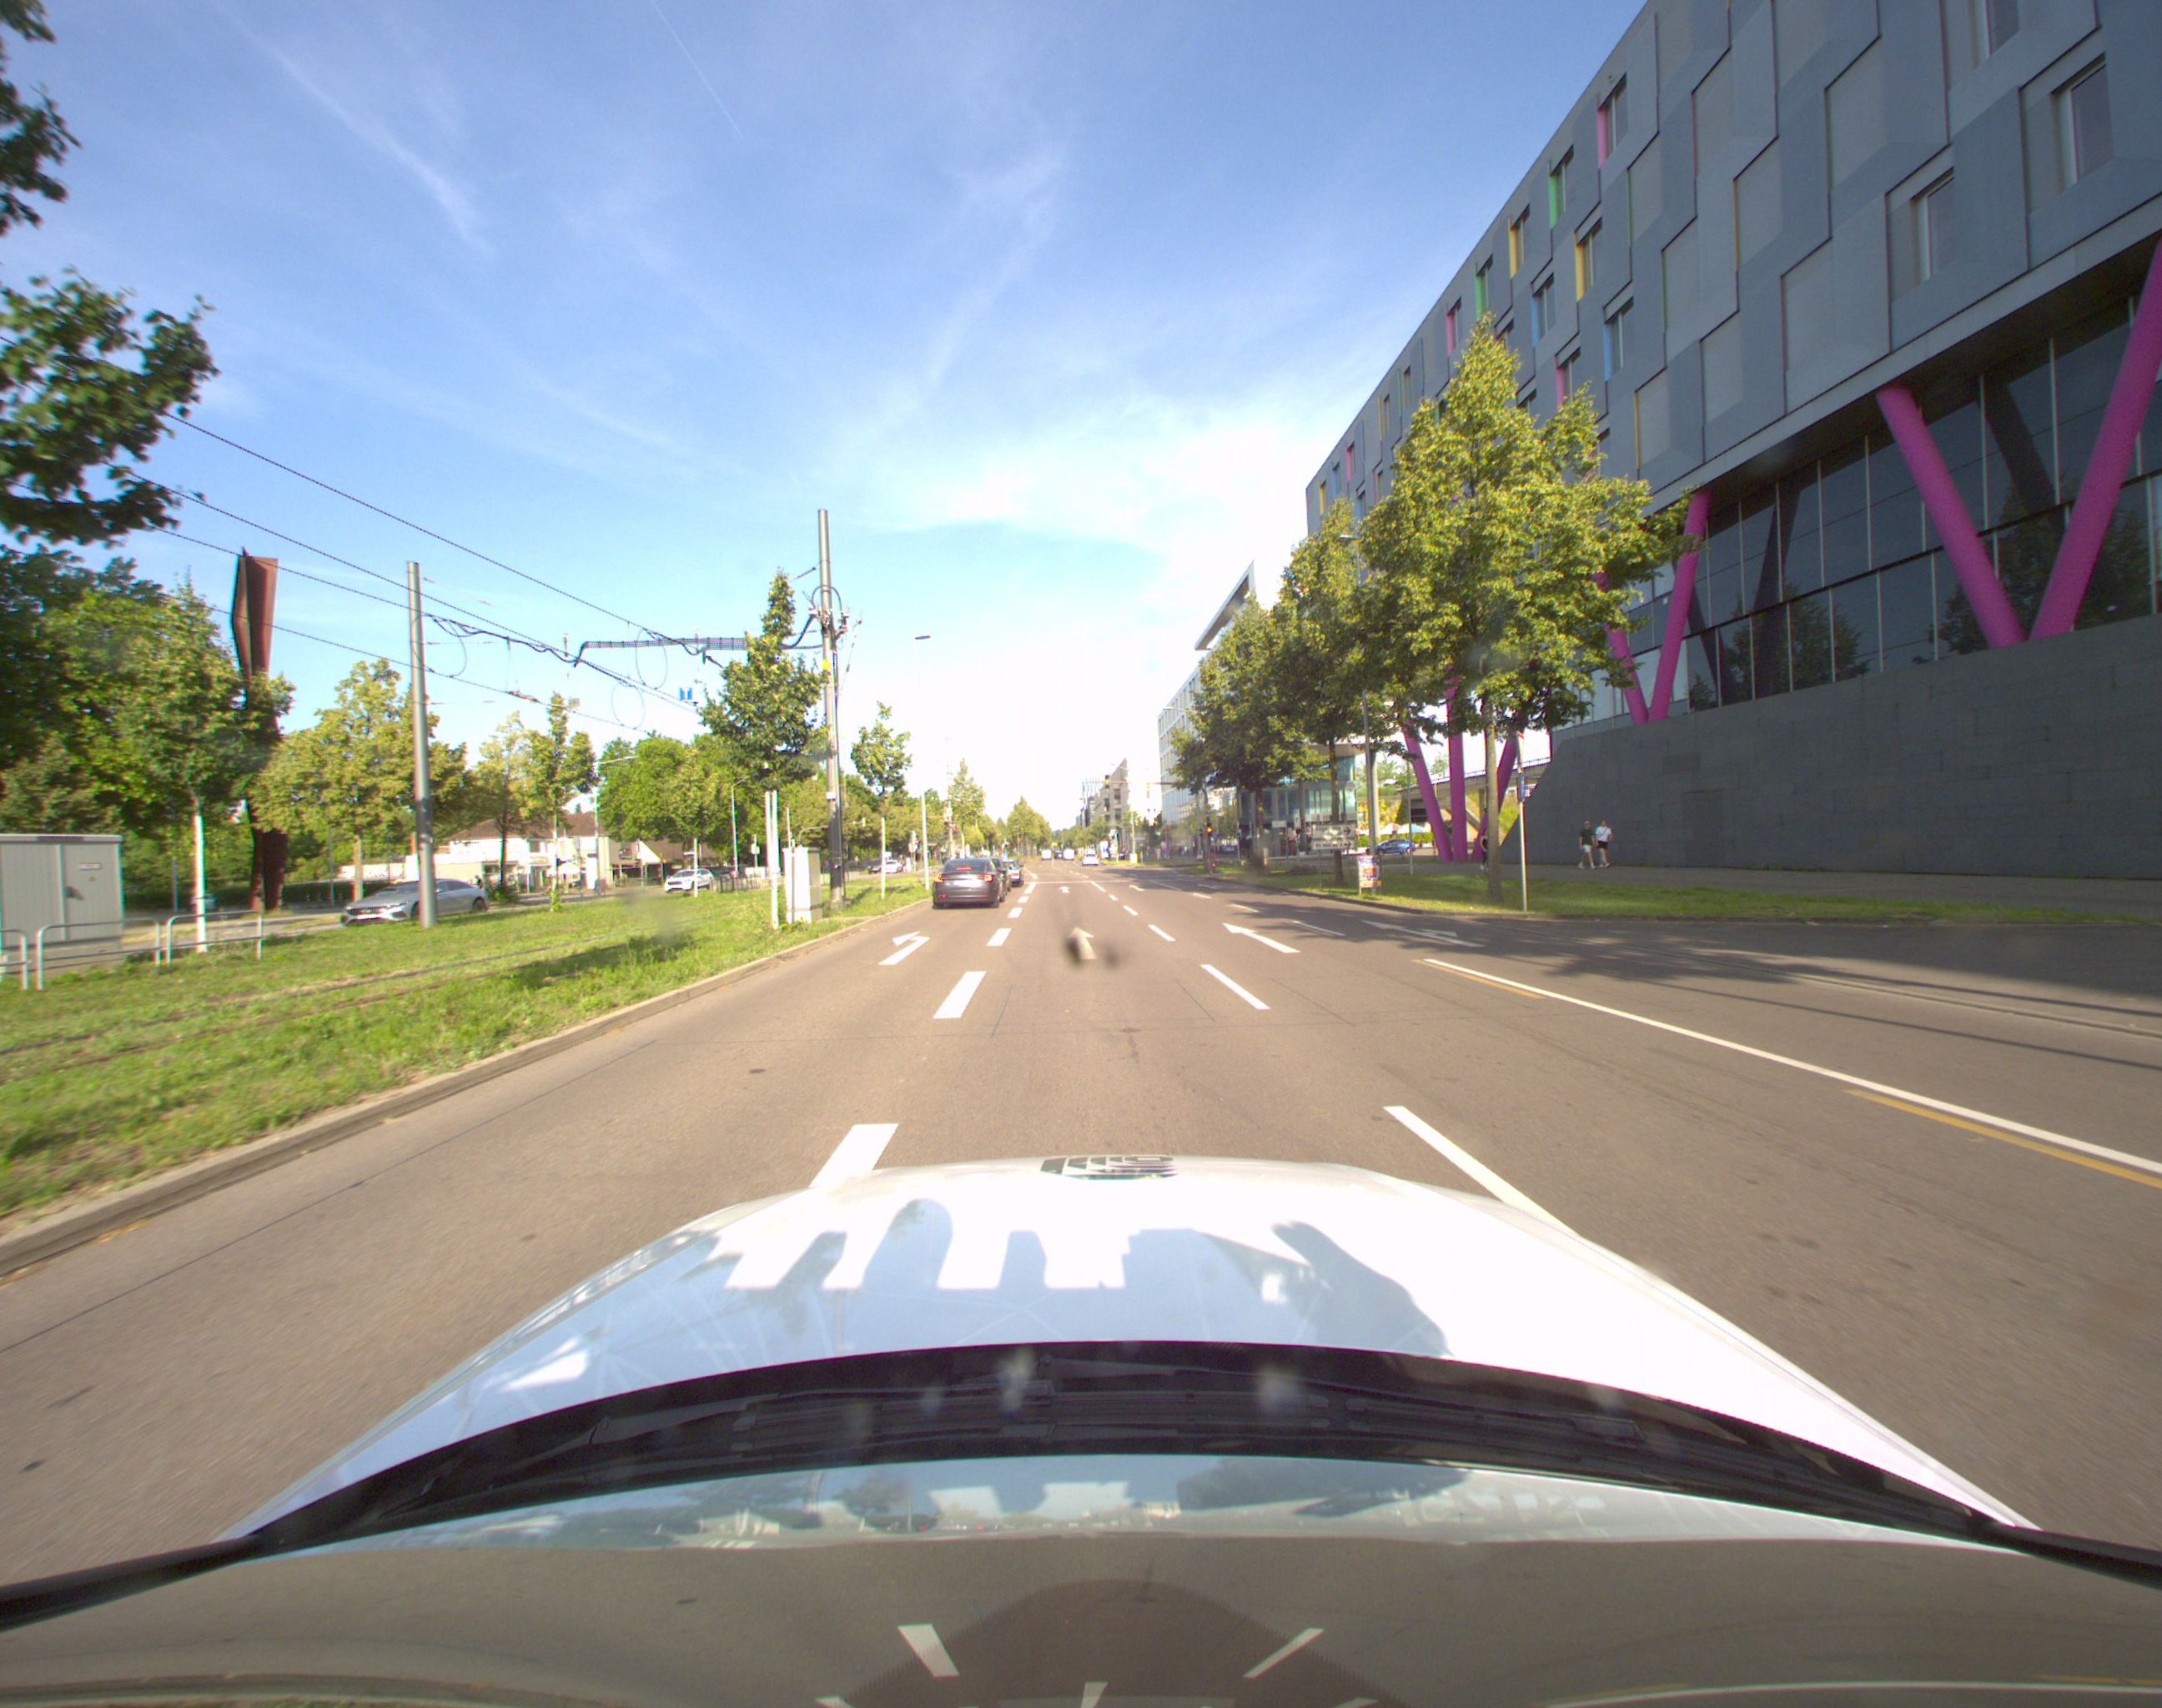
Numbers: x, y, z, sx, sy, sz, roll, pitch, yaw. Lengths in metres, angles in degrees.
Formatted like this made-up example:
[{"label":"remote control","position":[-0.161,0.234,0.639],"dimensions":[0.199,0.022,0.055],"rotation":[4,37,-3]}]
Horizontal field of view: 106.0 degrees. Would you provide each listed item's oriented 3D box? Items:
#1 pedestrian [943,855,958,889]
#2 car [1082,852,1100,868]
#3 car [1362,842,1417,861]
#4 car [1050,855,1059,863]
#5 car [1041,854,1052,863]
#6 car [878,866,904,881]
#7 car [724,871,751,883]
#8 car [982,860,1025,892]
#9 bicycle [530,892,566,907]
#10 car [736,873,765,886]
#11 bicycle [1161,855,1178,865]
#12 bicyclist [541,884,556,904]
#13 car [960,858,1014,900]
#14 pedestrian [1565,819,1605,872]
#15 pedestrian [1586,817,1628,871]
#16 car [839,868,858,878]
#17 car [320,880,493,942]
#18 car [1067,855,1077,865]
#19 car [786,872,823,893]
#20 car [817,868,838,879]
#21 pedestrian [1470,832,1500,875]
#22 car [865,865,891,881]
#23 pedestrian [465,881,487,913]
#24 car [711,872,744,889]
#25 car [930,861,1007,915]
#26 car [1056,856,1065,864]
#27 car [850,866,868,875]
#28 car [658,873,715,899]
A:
[{"label":"pedestrian","position":[-7.020,0.980,43.937],"dimensions":[0.697,1.792,0.635],"rotation":[-1,0,-2]},{"label":"car","position":[1.083,0.658,91.438],"dimensions":[1.859,1.684,3.998],"rotation":[-1,0,-1]},{"label":"car","position":[27.455,-0.238,72.575],"dimensions":[4.175,1.424,1.857],"rotation":[-3,0,-3]},{"label":"car","position":[-5.985,1.066,181.139],"dimensions":[1.920,1.684,3.995],"rotation":[-1,0,-3]},{"label":"car","position":[-6.377,0.799,151.447],"dimensions":[2.009,1.684,3.998],"rotation":[-1,0,-1]},{"label":"car","position":[-21.475,2.221,92.227],"dimensions":[1.988,1.504,4.090],"rotation":[-4,0,-2]},{"label":"car","position":[-49.818,3.317,118.205],"dimensions":[1.873,1.559,4.003],"rotation":[-3,0,3]},{"label":"car","position":[-3.560,0.982,38.086],"dimensions":[1.759,1.330,4.395],"rotation":[-1,0,-3]},{"label":"bicycle","position":[-41.198,3.521,62.999],"dimensions":[2.206,1.041,0.694],"rotation":[-3,0,-25]},{"label":"car","position":[-42.080,3.220,103.792],"dimensions":[1.873,1.559,4.003],"rotation":[-3,0,3]},{"label":"bicycle","position":[10.047,0.685,92.637],"dimensions":[1.855,1.032,0.778],"rotation":[-2,0,44]},{"label":"bicyclist","position":[-41.207,3.064,63.011],"dimensions":[0.851,1.493,0.694],"rotation":[-2,0,-25]},{"label":"car","position":[-3.585,0.918,31.598],"dimensions":[1.782,1.479,4.349],"rotation":[-1,0,-3]},{"label":"pedestrian","position":[17.783,-0.289,28.755],"dimensions":[0.752,1.793,0.843],"rotation":[-5,0,-3]},{"label":"pedestrian","position":[18.428,-0.347,28.535],"dimensions":[0.766,1.825,0.852],"rotation":[-4,0,-3]},{"label":"car","position":[-40.299,3.271,141.293],"dimensions":[1.873,1.559,4.003],"rotation":[-3,0,3]},{"label":"car","position":[-22.342,1.819,27.287],"dimensions":[1.992,1.527,4.900],"rotation":[-6,1,-7]},{"label":"car","position":[-1.588,1.093,142.638],"dimensions":[1.859,1.684,3.998],"rotation":[-1,0,-1]},{"label":"car","position":[-24.558,2.509,72.462],"dimensions":[1.989,1.528,4.307],"rotation":[-3,0,-3]},{"label":"car","position":[-40.963,3.188,131.810],"dimensions":[1.873,1.559,4.003],"rotation":[-3,0,3]},{"label":"pedestrian","position":[16.015,-0.016,32.279],"dimensions":[0.692,1.638,0.736],"rotation":[-4,0,-3]},{"label":"car","position":[-25.131,2.343,100.888],"dimensions":[1.989,1.684,4.991],"rotation":[-3,0,-2]},{"label":"pedestrian","position":[-42.254,2.986,56.912],"dimensions":[0.715,2.107,0.887],"rotation":[-5,0,27]},{"label":"car","position":[-42.370,3.151,97.725],"dimensions":[1.873,1.750,4.003],"rotation":[-3,0,3]},{"label":"car","position":[-3.222,0.940,24.145],"dimensions":[1.885,1.386,4.329],"rotation":[-1,0,-3]},{"label":"car","position":[-4.155,1.199,166.959],"dimensions":[1.918,1.684,3.998],"rotation":[-1,0,-1]},{"label":"car","position":[-39.967,2.992,146.390],"dimensions":[1.873,1.559,4.003],"rotation":[-3,0,3]},{"label":"car","position":[-27.375,2.192,56.679],"dimensions":[1.901,1.528,4.438],"rotation":[-3,0,-2]}]
